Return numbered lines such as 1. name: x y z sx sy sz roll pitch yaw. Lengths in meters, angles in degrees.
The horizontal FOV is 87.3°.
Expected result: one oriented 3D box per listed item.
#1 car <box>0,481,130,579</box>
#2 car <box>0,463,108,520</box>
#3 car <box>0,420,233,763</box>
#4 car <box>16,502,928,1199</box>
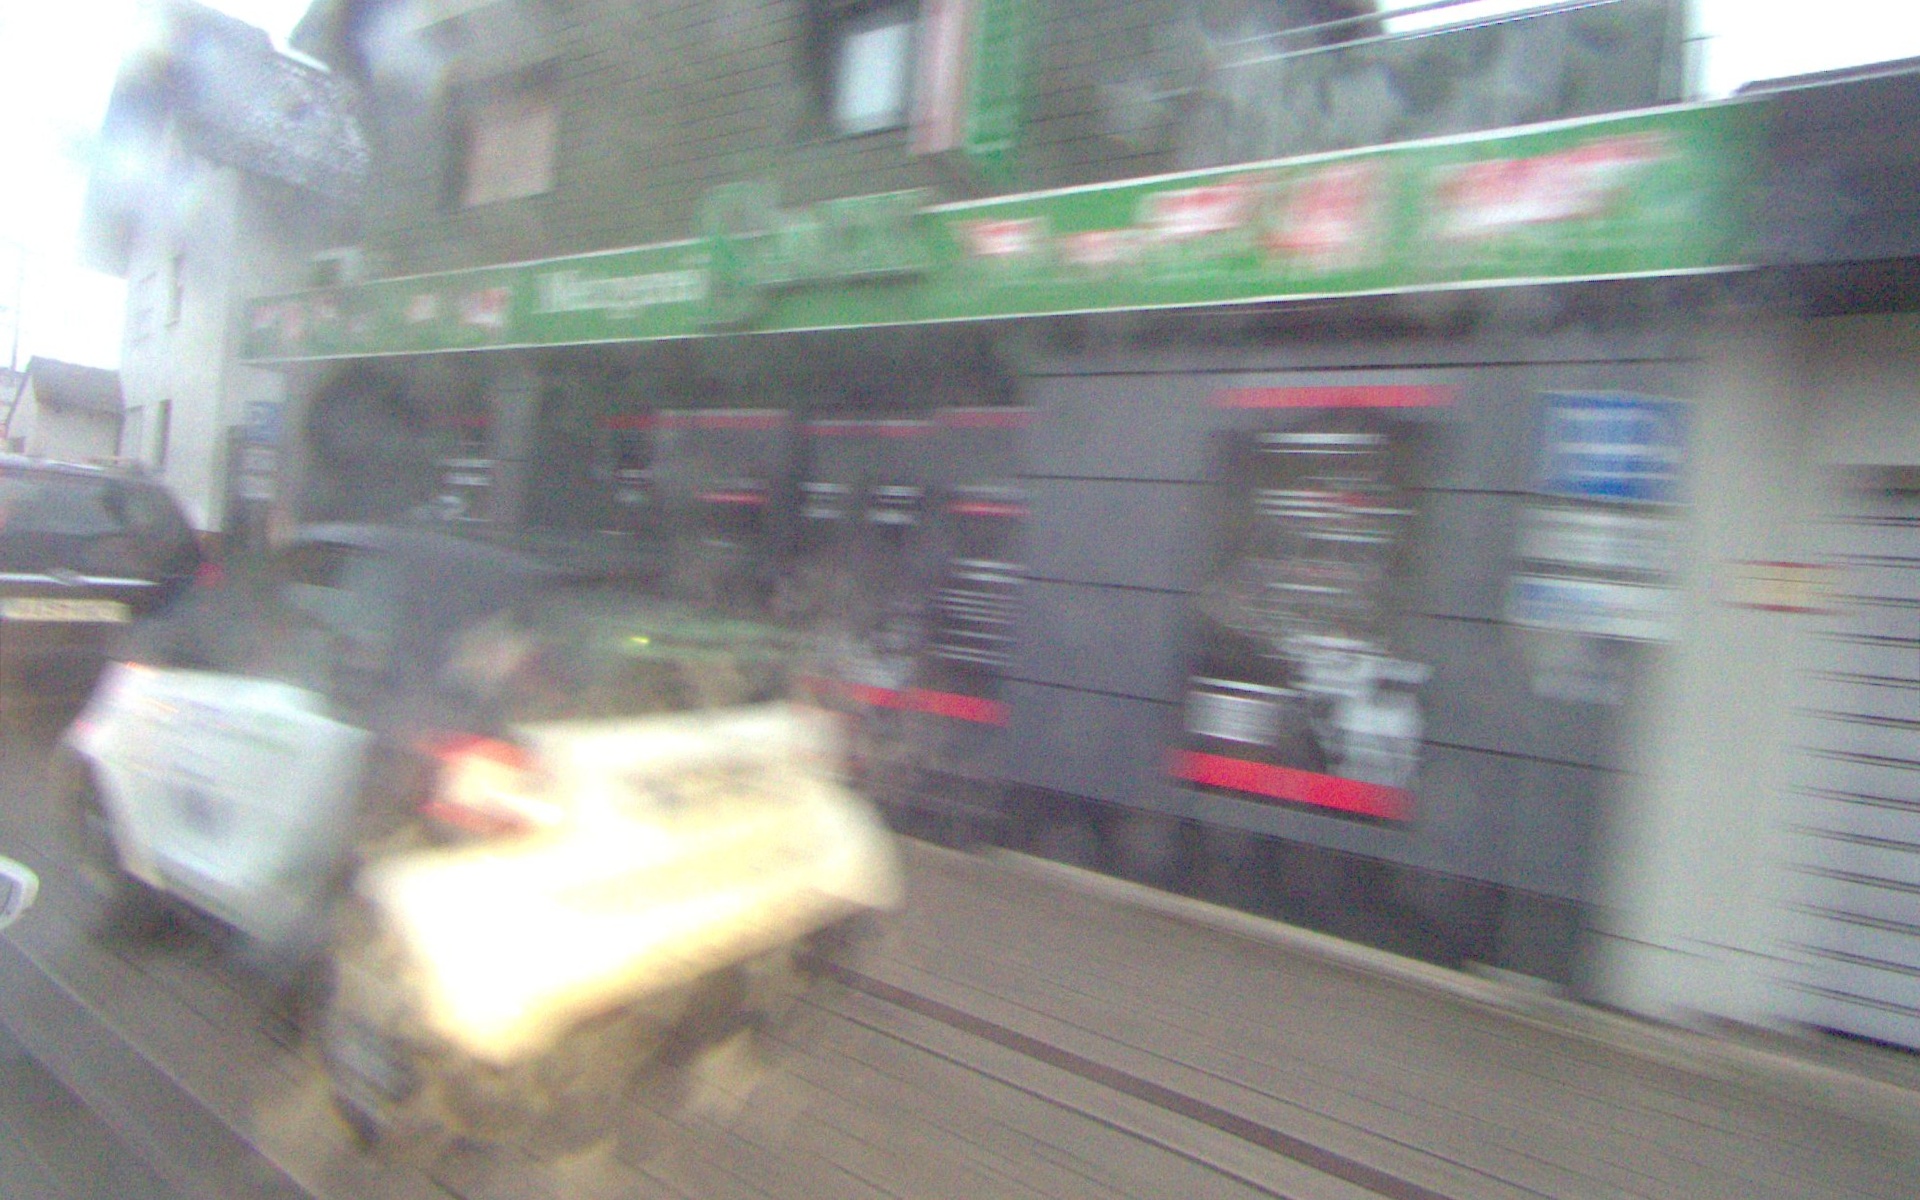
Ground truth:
1. car: -16.135 -1.279 17.062 3.845 1.412 1.767 7 2 27
2. car: -29.792 -3.440 31.737 1.777 1.664 4.162 8 7 38
3. car: -6.534 -0.222 6.547 3.938 1.806 1.767 7 3 36
4. car: -1.736 0.541 3.529 2.682 1.434 1.645 7 3 32
